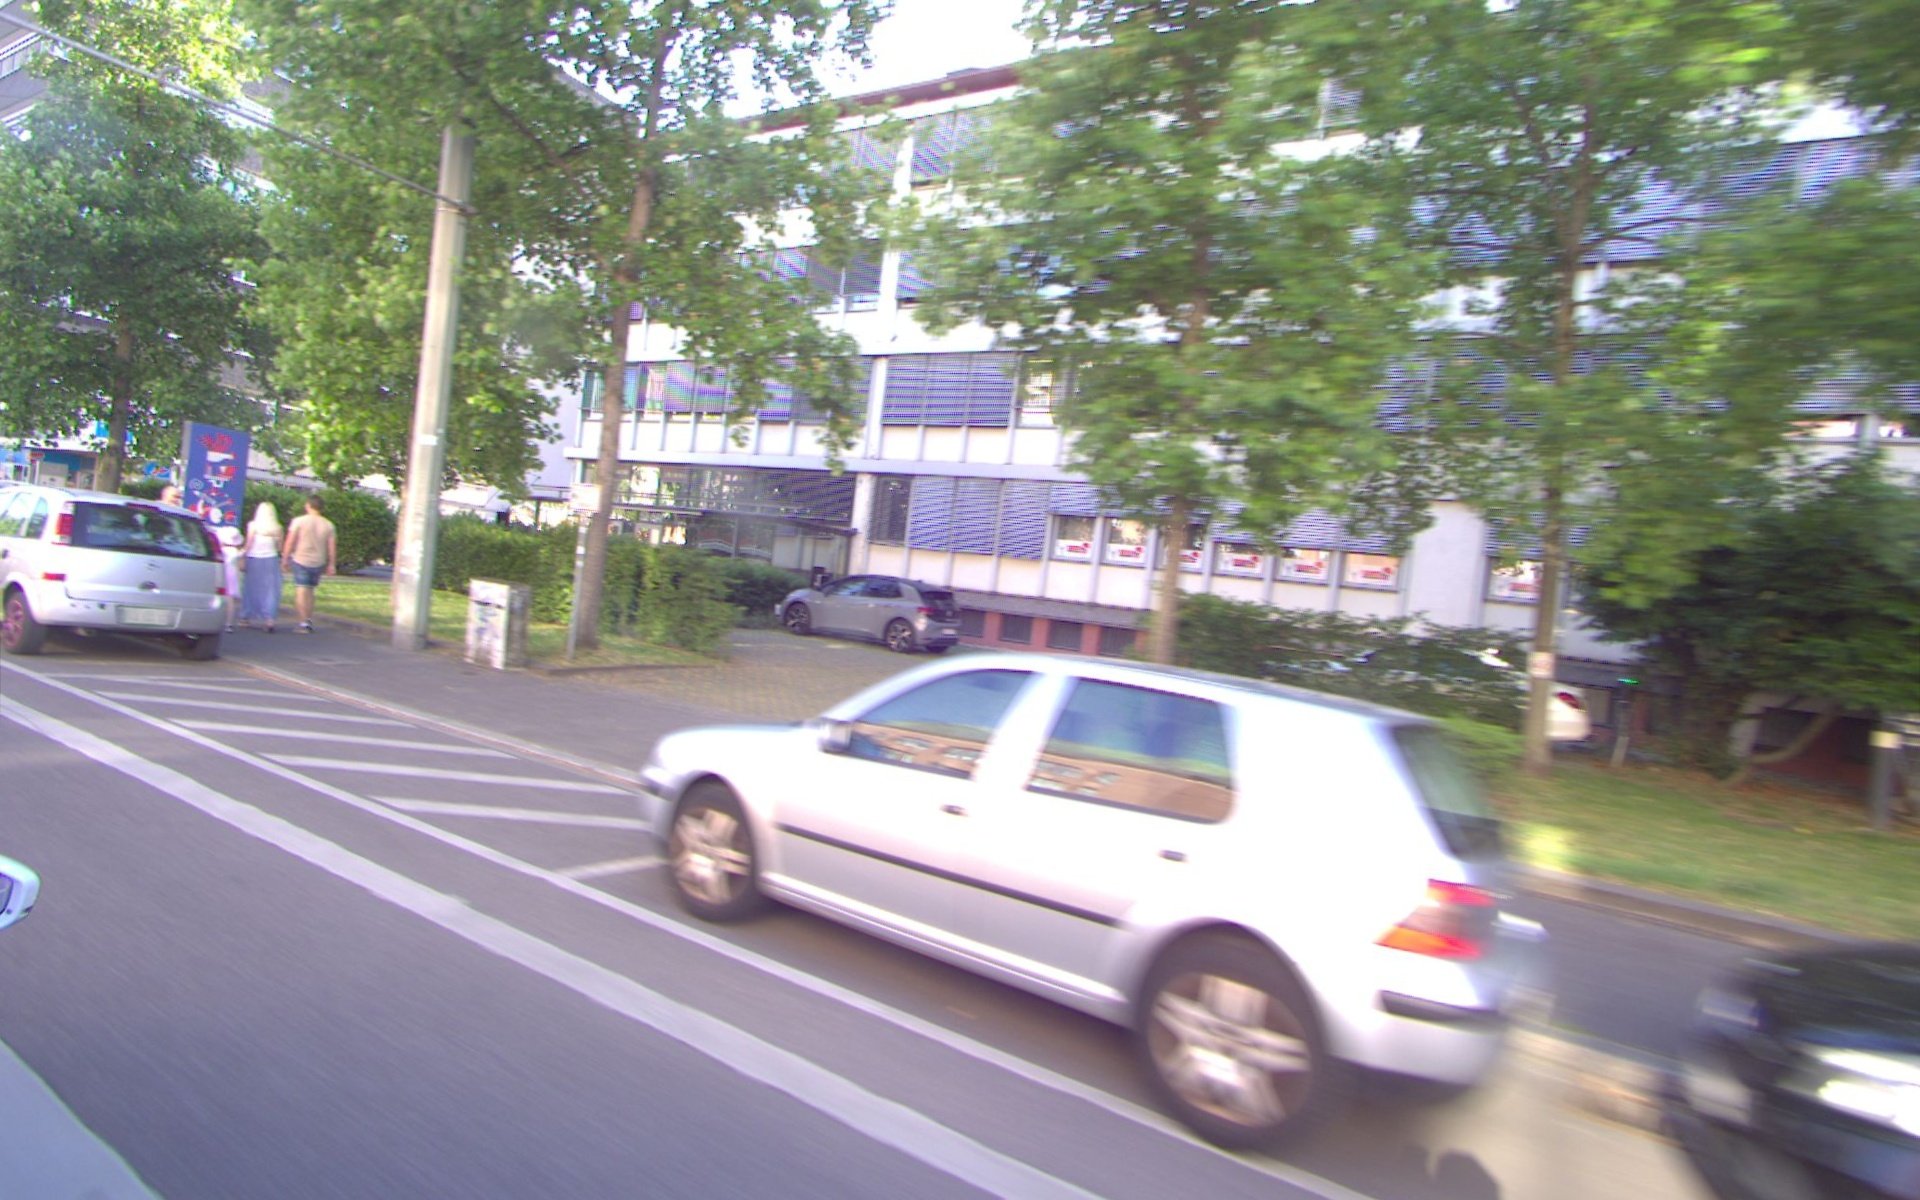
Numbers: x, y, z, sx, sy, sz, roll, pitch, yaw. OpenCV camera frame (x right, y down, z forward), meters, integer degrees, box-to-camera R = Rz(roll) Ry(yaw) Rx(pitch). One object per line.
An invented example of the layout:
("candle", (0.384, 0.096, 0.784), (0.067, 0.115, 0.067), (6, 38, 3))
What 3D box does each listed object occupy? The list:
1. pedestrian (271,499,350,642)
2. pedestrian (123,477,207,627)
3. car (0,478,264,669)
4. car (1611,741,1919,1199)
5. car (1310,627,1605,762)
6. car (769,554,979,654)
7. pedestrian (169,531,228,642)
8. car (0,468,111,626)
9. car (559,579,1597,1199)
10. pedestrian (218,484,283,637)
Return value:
("pedestrian", (-9.174, -0.409, 14.203), (0.736, 1.924, 0.667), (8, 5, 37))
("pedestrian", (-10.198, -0.603, 12.904), (0.593, 1.831, 0.611), (8, 2, 36))
("car", (-9.556, -0.384, 10.848), (3.996, 1.609, 1.717), (8, -1, 30))
("car", (4.069, 1.412, 2.148), (4.250, 1.451, 1.807), (7, -2, 30))
("car", (7.905, 1.450, 16.315), (3.928, 1.482, 1.794), (7, 1, 25))
("car", (-1.941, 0.084, 22.385), (4.235, 1.556, 1.792), (9, 1, 28))
("pedestrian", (-10.044, -0.175, 13.270), (0.416, 1.417, 0.455), (8, 3, 36))
("car", (-13.646, -0.939, 13.387), (4.630, 1.856, 1.929), (8, 0, 29))
("car", (0.246, 0.927, 4.573), (4.248, 1.460, 1.750), (8, 0, 36))
("pedestrian", (-9.590, -0.535, 13.599), (0.736, 1.981, 0.464), (8, 5, 37))
